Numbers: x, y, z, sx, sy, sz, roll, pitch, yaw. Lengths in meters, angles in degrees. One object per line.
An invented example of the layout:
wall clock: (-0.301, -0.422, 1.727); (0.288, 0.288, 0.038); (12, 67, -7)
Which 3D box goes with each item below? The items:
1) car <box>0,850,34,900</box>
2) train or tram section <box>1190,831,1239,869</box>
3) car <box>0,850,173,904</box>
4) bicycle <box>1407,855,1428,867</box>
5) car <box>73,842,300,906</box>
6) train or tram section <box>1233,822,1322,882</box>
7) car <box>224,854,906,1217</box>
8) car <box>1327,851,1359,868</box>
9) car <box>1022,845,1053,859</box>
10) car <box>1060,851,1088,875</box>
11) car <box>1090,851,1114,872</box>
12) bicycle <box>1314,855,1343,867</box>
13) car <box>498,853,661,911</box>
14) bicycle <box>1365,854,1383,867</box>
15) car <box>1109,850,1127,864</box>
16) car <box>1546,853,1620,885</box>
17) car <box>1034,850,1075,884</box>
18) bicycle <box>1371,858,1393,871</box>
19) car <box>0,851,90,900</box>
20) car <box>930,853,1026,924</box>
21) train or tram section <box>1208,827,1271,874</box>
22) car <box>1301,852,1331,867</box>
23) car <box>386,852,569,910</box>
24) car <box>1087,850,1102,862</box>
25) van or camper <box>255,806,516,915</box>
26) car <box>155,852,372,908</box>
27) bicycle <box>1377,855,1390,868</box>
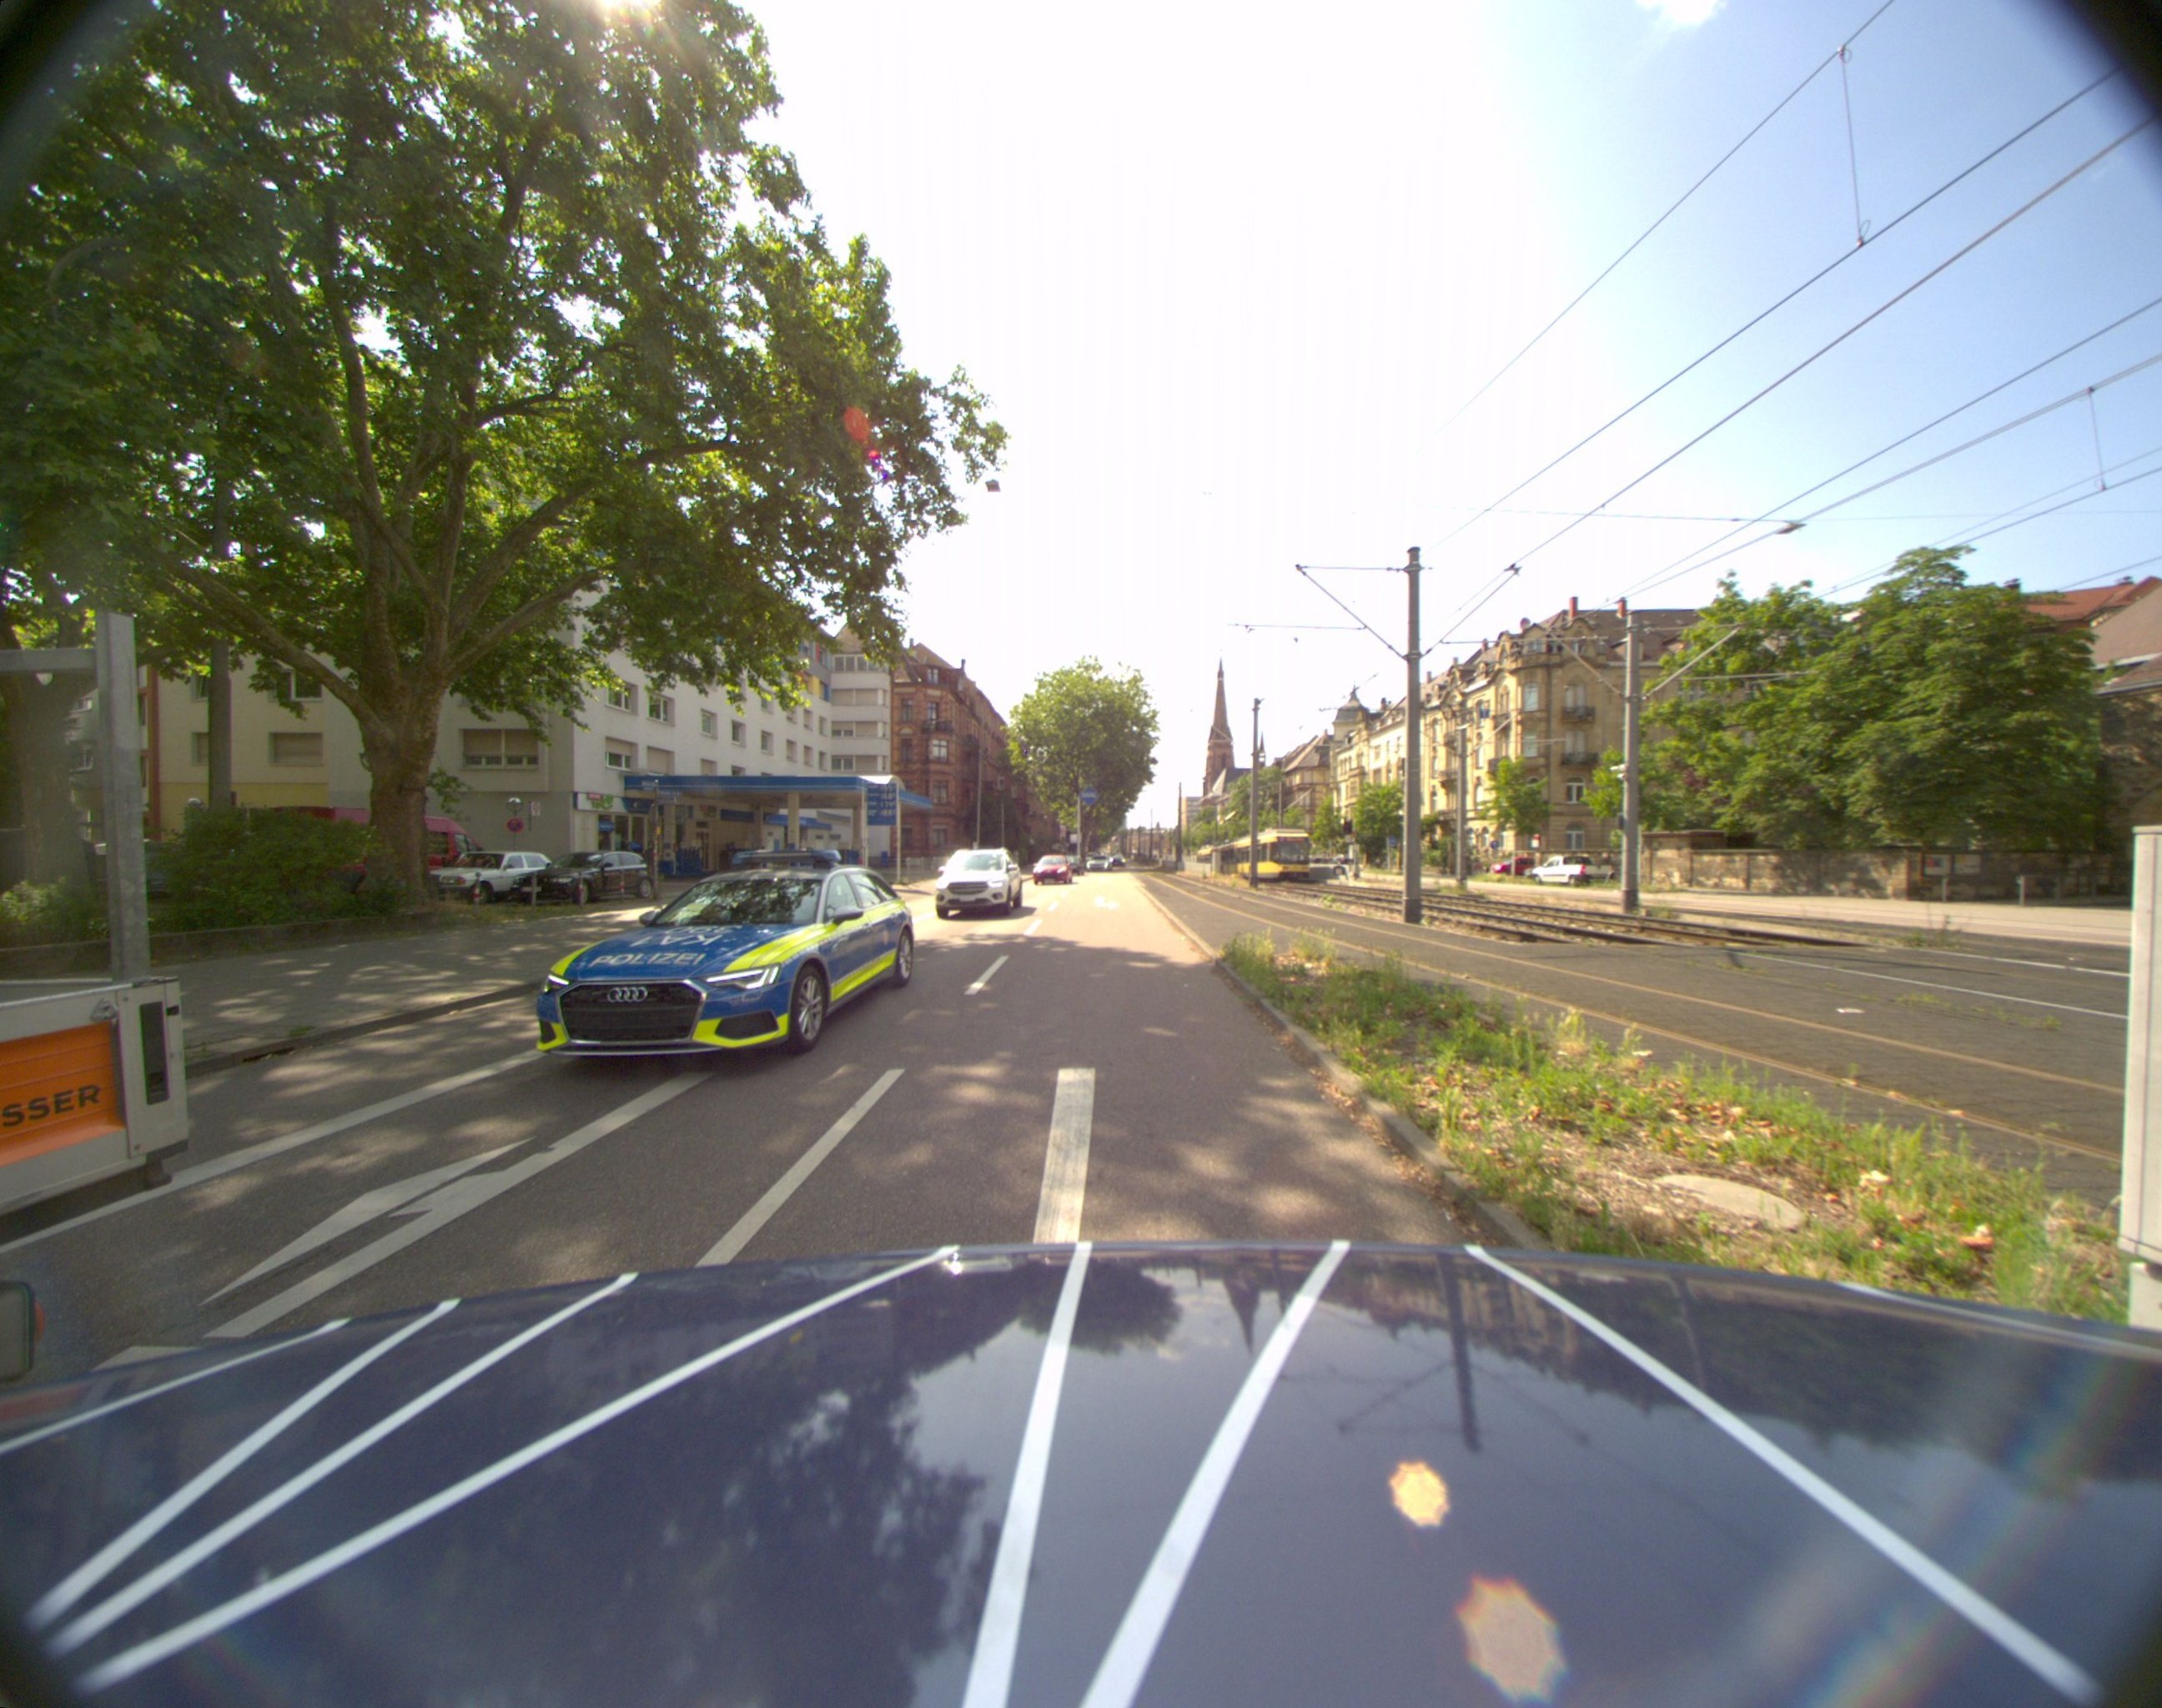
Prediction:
car: (-33.408, 0.673, 21.588); (1.663, 1.511, 3.999); (-2, 1, 1)
train or tram section: (13.449, -0.454, 77.684); (2.860, 3.559, 12.834); (0, 1, 1)
car: (-28.275, 0.611, 20.869); (1.766, 1.356, 3.999); (-2, 1, 1)
bicycle: (30.511, 0.644, 68.896); (1.710, 1.063, 0.471); (-3, 1, -4)
car: (-24.659, 0.493, 21.205); (1.529, 1.595, 3.999); (-1, 1, 1)
train or tram section: (13.060, -0.164, 51.953); (2.860, 3.559, 12.834); (0, 1, 1)
car: (-3.066, 0.879, 6.210); (1.871, 1.643, 5.153); (-1, 1, 2)
car: (25.523, 0.522, 74.137); (1.690, 1.494, 4.708); (0, 1, 2)
car: (-6.343, -0.307, 111.175); (4.412, 1.907, 2.000); (1, 1, 0)
car: (-0.463, 0.599, 53.278); (1.764, 1.490, 4.187); (0, 1, 1)
car: (1.820, 0.623, 65.575); (1.952, 1.598, 5.075); (0, 2, 1)
bicycle: (26.247, 0.735, 80.622); (2.957, 1.239, 0.792); (0, 1, -11)
car: (-13.565, 0.685, 20.883); (1.756, 1.402, 3.999); (0, 1, 1)
bicycle: (29.041, 0.602, 75.281); (0.659, 1.241, 2.943); (-2, 0, 2)
car: (3.980, 0.283, 81.454); (1.637, 1.346, 3.648); (-2, 1, 7)
car: (24.935, 0.694, 37.888); (1.671, 1.408, 3.846); (2, 1, 10)
car: (-1.285, 0.603, 38.493); (1.764, 1.597, 4.679); (0, 1, 1)
bicycle: (25.804, 0.878, 65.043); (1.710, 1.063, 0.471); (0, 1, -4)
car: (-30.770, 0.635, 20.877); (1.766, 1.356, 3.999); (-2, 1, 1)
car: (-2.595, 0.819, 20.221); (1.764, 1.597, 4.679); (-1, 0, 1)
train or tram section: (13.264, -0.315, 64.847); (2.860, 3.559, 12.834); (0, 1, 1)
car: (25.952, 0.557, 84.149); (1.803, 1.518, 4.488); (-2, 1, -2)
car: (-16.298, 0.671, 20.814); (1.756, 1.402, 3.999); (0, 1, 1)
car: (1.602, 0.258, 88.406); (1.500, 1.296, 3.492); (-2, 1, 4)
van or camper: (-19.132, 0.133, 21.385); (2.107, 2.626, 5.350); (-2, 1, 3)
car: (-21.991, 0.625, 20.700); (1.477, 1.286, 3.999); (-2, 1, 1)
bicycle: (28.852, 0.699, 72.431); (0.428, 1.133, 2.023); (-2, 0, 2)
